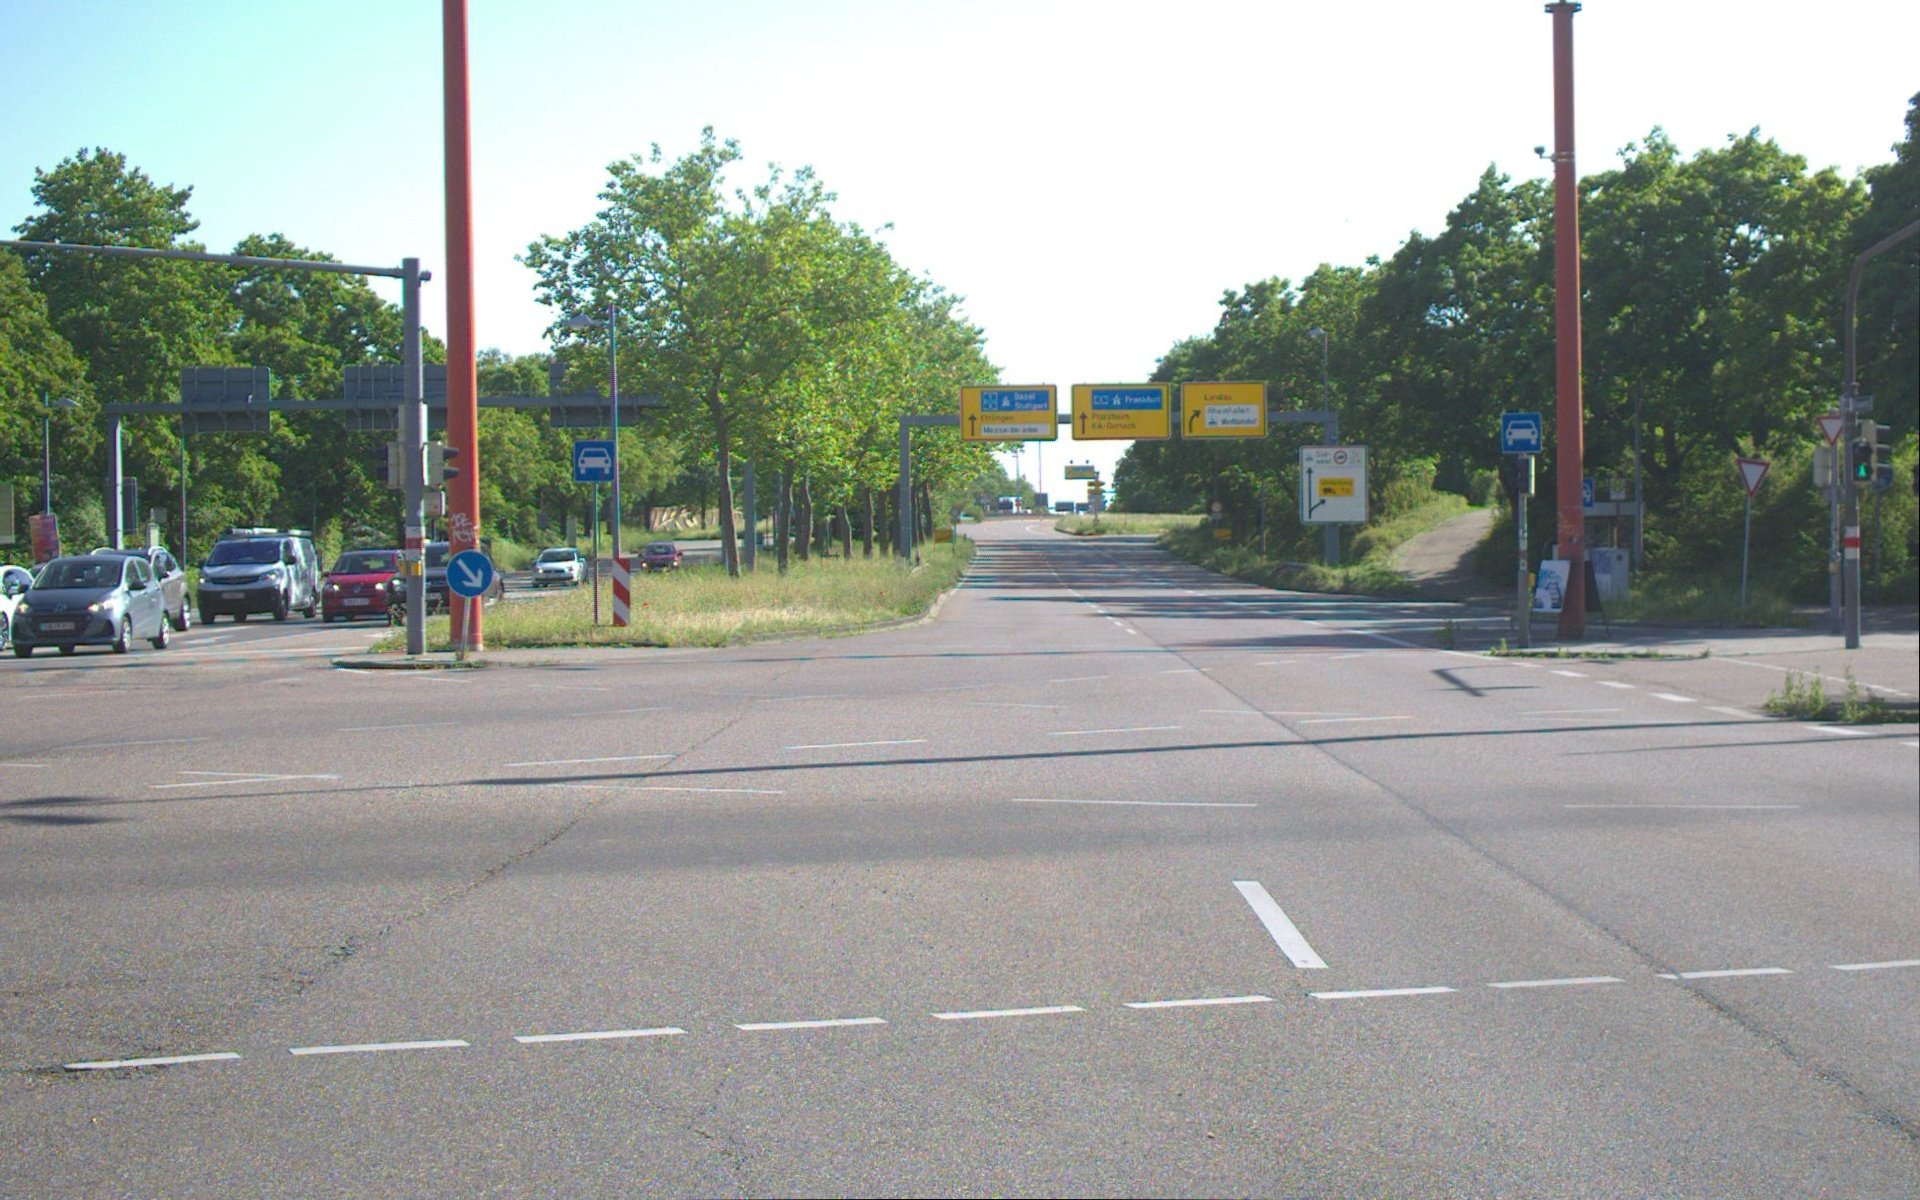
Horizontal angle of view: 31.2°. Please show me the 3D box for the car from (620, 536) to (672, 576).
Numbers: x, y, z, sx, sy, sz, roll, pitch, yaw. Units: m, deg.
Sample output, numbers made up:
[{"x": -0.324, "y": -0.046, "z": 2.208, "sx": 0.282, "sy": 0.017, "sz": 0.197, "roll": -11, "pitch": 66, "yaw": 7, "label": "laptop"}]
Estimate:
[{"x": -12.939, "y": -1.842, "z": 142.012, "sx": 1.819, "sy": 1.623, "sz": 4.000, "roll": 0, "pitch": 1, "yaw": -1, "label": "car"}]

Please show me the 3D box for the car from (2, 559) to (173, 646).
[{"x": -13.123, "y": 0.015, "z": 51.901, "sx": 1.739, "sy": 1.239, "sz": 3.613, "roll": -1, "pitch": 1, "yaw": -1, "label": "car"}]

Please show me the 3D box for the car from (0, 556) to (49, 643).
[{"x": -16.431, "y": -0.017, "z": 57.047, "sx": 1.739, "sy": 1.406, "sz": 3.613, "roll": -1, "pitch": 1, "yaw": -1, "label": "car"}]

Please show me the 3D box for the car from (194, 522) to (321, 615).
[{"x": -15.798, "y": -0.730, "z": 77.534, "sx": 1.893, "sy": 2.019, "sz": 5.224, "roll": 0, "pitch": 1, "yaw": -1, "label": "car"}]

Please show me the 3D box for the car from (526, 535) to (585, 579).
[{"x": -15.385, "y": -1.632, "z": 130.979, "sx": 1.797, "sy": 1.634, "sz": 4.000, "roll": 0, "pitch": 1, "yaw": -1, "label": "car"}]

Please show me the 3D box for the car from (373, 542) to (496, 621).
[{"x": -10.283, "y": -0.384, "z": 67.492, "sx": 1.819, "sy": 1.503, "sz": 4.000, "roll": -1, "pitch": 1, "yaw": -1, "label": "car"}]

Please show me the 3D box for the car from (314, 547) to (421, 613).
[{"x": -12.587, "y": -0.447, "z": 73.180, "sx": 1.739, "sy": 1.357, "sz": 3.613, "roll": -1, "pitch": 1, "yaw": -1, "label": "car"}]
